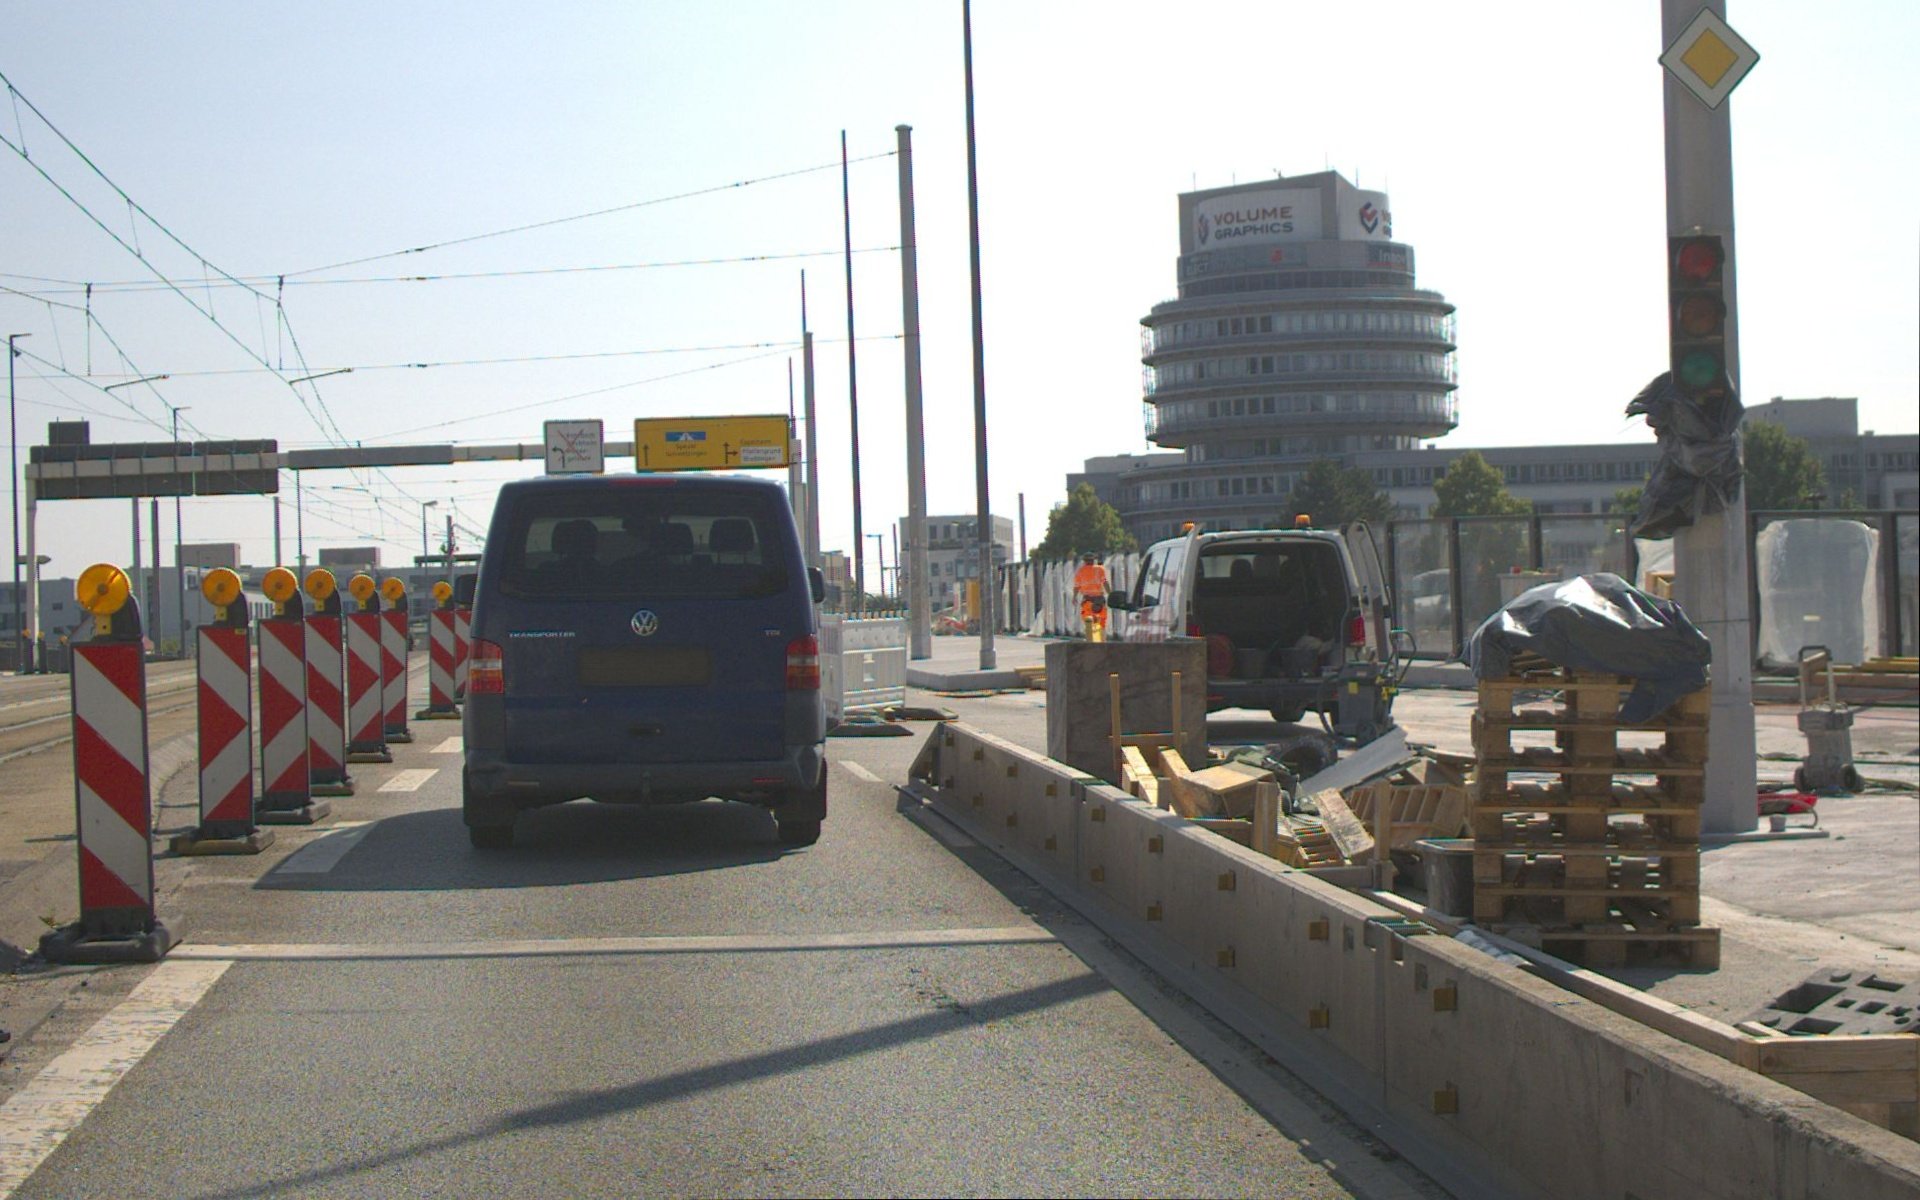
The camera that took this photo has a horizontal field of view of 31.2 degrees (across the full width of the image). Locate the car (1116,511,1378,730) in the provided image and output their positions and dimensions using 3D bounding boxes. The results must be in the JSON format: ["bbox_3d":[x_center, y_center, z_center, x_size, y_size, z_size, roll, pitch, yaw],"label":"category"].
[{"bbox_3d":[2.793,0.199,34.567,1.878,2.026,4.891,-1,0,-4],"label":"car"}]

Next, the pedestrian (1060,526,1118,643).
[{"bbox_3d":[2.170,-0.251,57.902,0.782,1.928,0.799,-3,-1,-5],"label":"pedestrian"}]

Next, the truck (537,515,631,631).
[{"bbox_3d":[-10.934,-0.817,100.629,2.460,3.124,11.218,-2,1,-5],"label":"truck"}]

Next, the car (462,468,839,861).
[{"bbox_3d":[-1.734,0.291,19.108,1.815,1.899,4.055,-2,1,-6],"label":"car"}]

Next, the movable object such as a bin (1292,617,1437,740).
[{"bbox_3d":[3.643,0.698,30.950,0.941,1.070,0.889,-1,0,41],"label":"movable object such as a bin"}]
